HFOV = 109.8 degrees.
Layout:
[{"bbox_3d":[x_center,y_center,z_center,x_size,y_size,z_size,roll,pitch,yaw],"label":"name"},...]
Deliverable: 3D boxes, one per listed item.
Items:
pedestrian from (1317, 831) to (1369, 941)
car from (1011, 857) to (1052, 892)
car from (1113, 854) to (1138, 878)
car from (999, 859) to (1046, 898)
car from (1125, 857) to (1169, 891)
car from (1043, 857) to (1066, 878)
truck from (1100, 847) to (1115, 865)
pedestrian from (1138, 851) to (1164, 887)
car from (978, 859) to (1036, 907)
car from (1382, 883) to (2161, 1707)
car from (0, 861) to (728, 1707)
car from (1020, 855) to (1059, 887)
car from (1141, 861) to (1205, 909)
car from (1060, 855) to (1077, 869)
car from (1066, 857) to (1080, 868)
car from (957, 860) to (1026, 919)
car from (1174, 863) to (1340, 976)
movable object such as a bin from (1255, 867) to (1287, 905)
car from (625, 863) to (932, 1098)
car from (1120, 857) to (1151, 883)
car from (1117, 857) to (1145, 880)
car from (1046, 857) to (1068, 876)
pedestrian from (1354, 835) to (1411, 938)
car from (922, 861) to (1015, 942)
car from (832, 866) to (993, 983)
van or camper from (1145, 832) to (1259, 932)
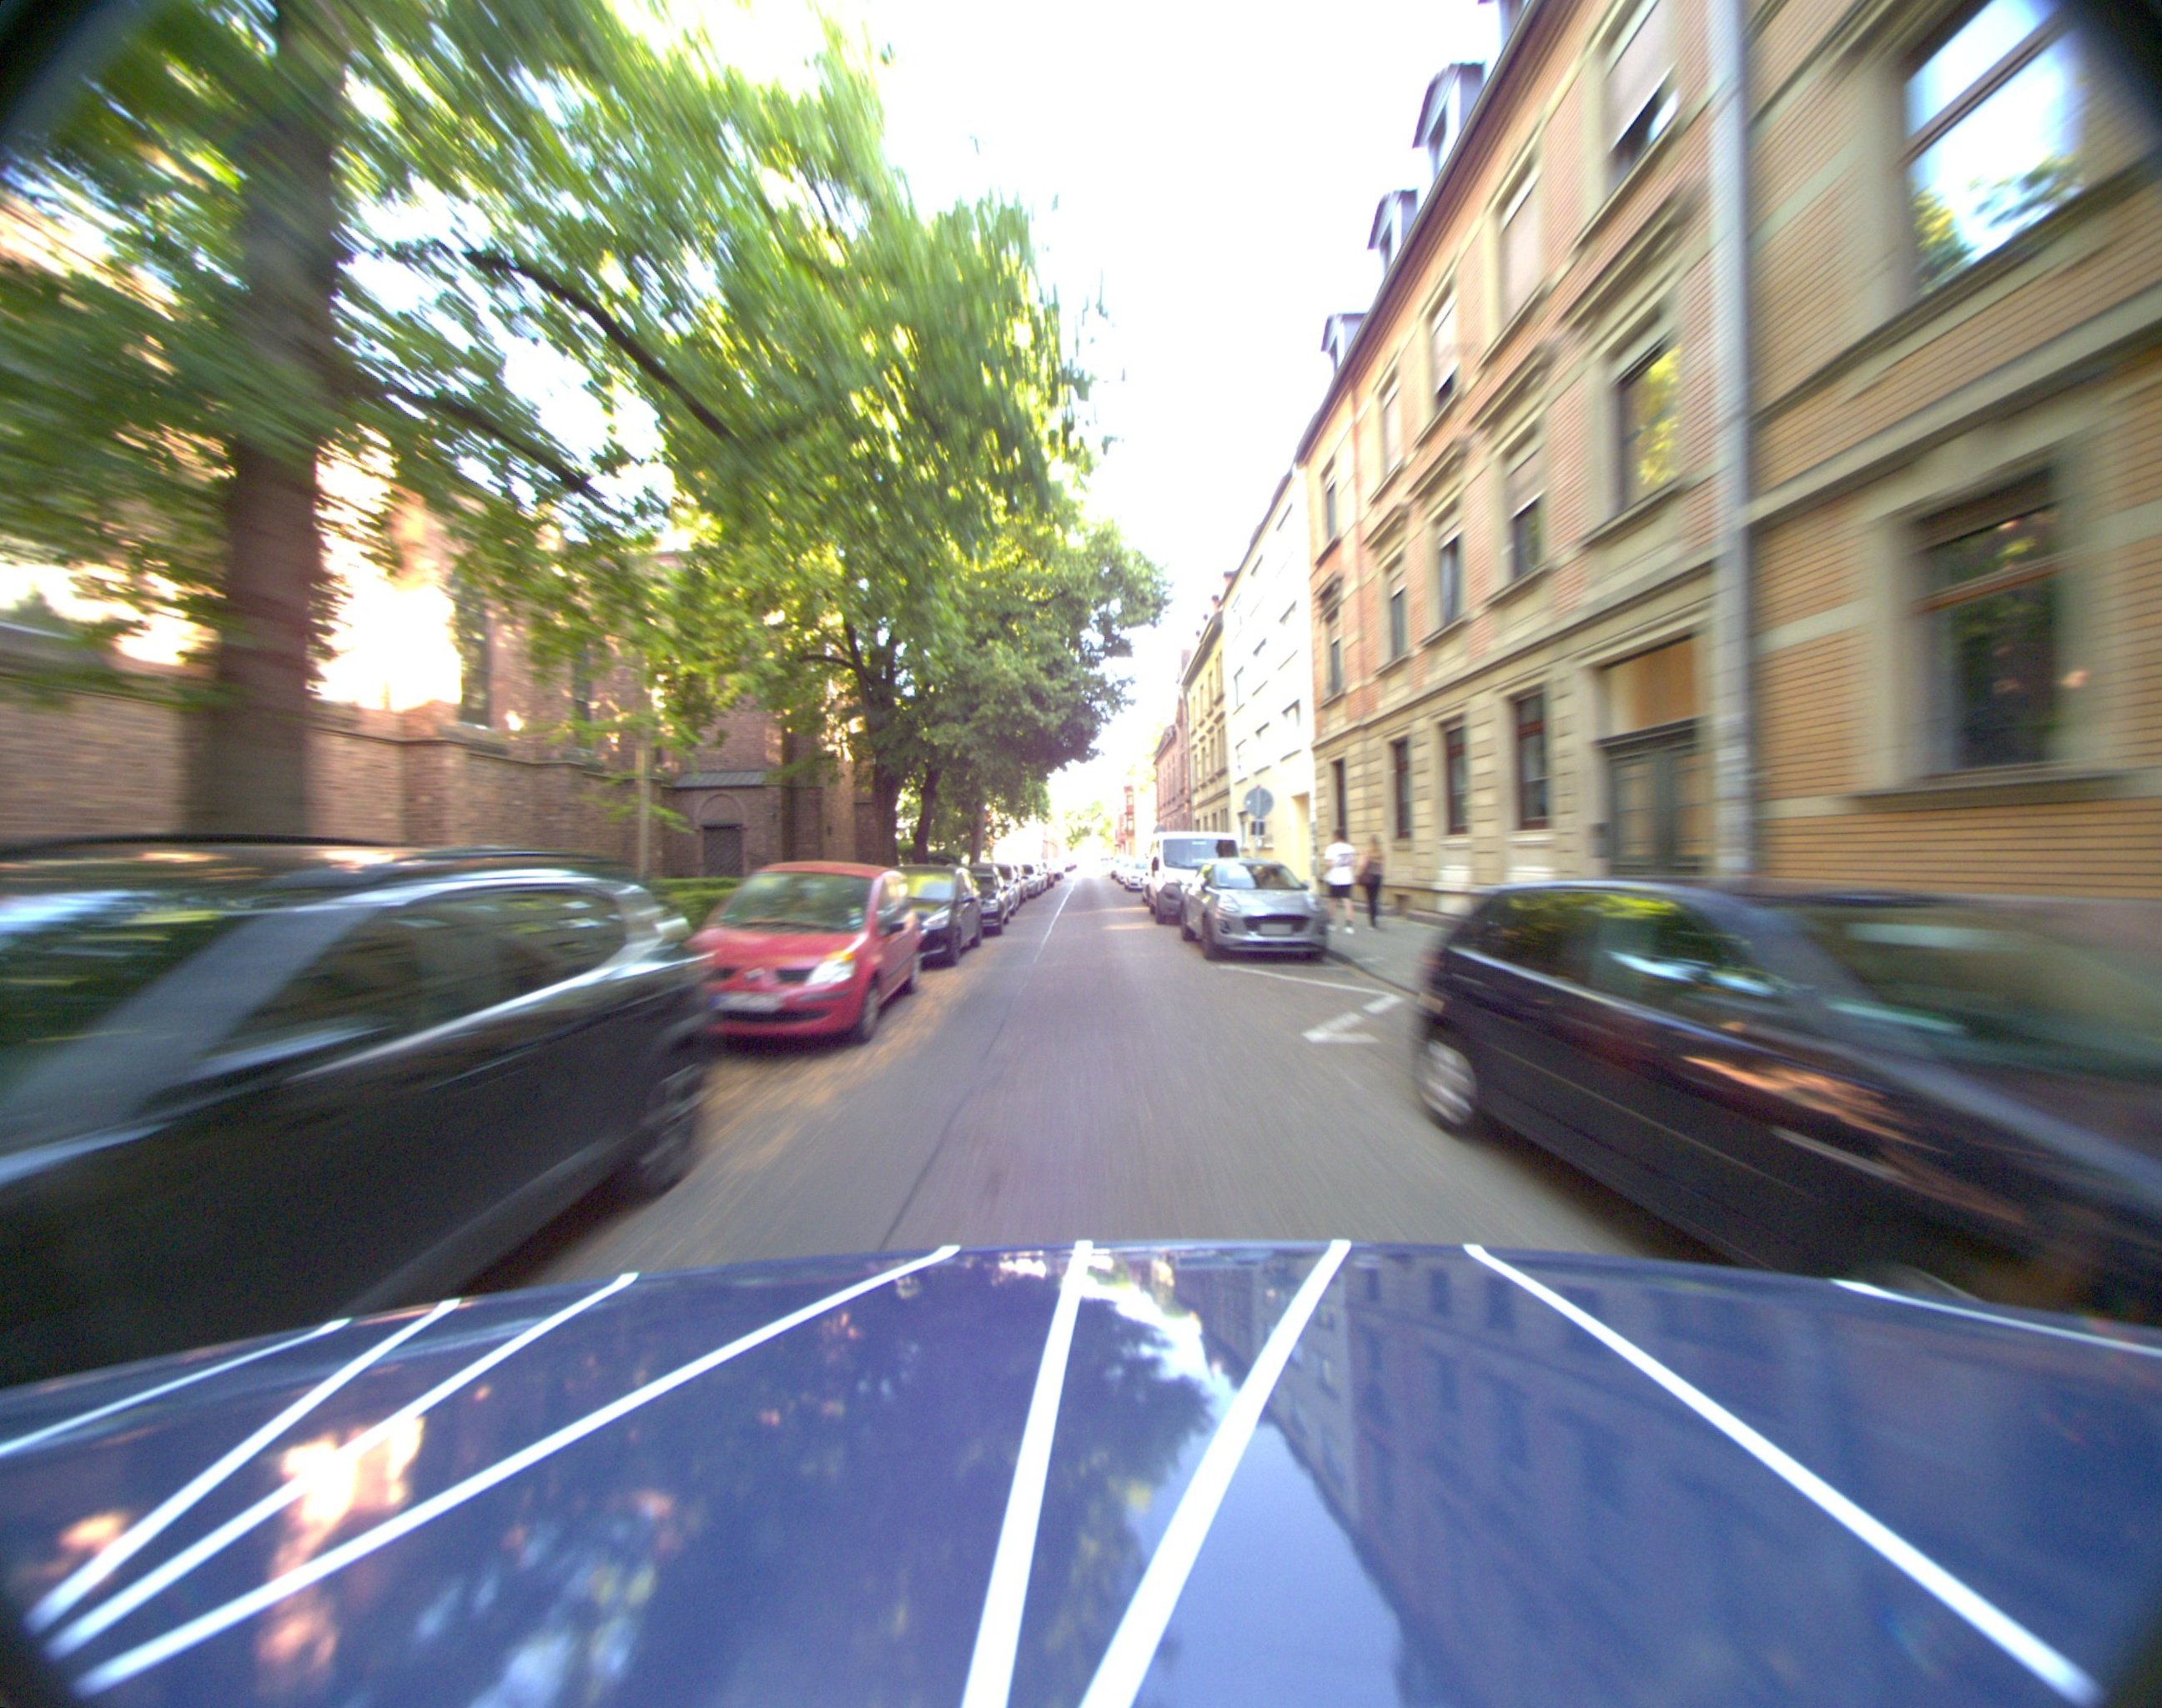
[{"bbox_3d":[4.658,0.542,13.564,0.580,1.872,0.904,-2,2,1],"label":"pedestrian"},{"bbox_3d":[-2.378,0.950,37.055,1.603,1.496,3.720,3,1,1],"label":"car"},{"bbox_3d":[3.283,0.877,56.885,1.713,1.664,4.278,1,1,2],"label":"car"},{"bbox_3d":[-2.445,1.002,32.345,1.603,1.462,3.869,1,1,1],"label":"car"},{"bbox_3d":[3.035,0.901,35.714,1.735,1.447,4.521,0,0,1],"label":"car"},{"bbox_3d":[-1.962,1.004,57.537,1.625,1.428,4.002,0,1,-1],"label":"car"},{"bbox_3d":[3.872,0.295,111.074,1.971,2.643,5.885,0,0,1],"label":"truck"},{"bbox_3d":[3.672,0.784,39.834,1.112,1.792,0.490,-4,1,33],"label":"pedestrian"},{"bbox_3d":[-2.606,0.981,27.417,1.603,1.459,3.563,3,1,1],"label":"car"},{"bbox_3d":[2.849,0.940,2.892,1.697,1.505,3.972,0,0,-2],"label":"car"},{"bbox_3d":[-2.760,0.910,2.015,1.744,1.594,4.262,3,1,-2],"label":"car"},{"bbox_3d":[-2.239,0.890,41.965,1.668,1.577,4.100,3,1,3],"label":"car"},{"bbox_3d":[2.974,0.970,25.271,1.735,1.394,4.316,0,0,2],"label":"car"},{"bbox_3d":[-1.508,0.995,92.402,1.845,1.643,4.000,0,0,1],"label":"car"},{"bbox_3d":[-1.347,1.317,123.716,1.998,1.659,4.001,-2,0,2],"label":"car"},{"bbox_3d":[-2.591,0.991,22.737,1.603,1.496,3.627,3,1,0],"label":"car"},{"bbox_3d":[2.704,0.939,12.629,1.771,1.505,4.193,0,0,0],"label":"car"},{"bbox_3d":[5.709,0.947,22.867,0.802,1.082,0.666,-2,2,5],"label":"movable object such as a bin"},{"bbox_3d":[-2.666,0.991,7.688,1.623,1.615,3.862,3,1,-2],"label":"car"},{"bbox_3d":[3.260,0.937,45.912,1.713,1.409,3.803,1,1,2],"label":"car"},{"bbox_3d":[3.319,0.937,50.655,1.713,1.409,3.803,1,1,2],"label":"car"},{"bbox_3d":[-1.985,1.026,63.022,1.713,1.511,3.831,0,1,-1],"label":"car"},{"bbox_3d":[5.311,0.555,13.421,0.703,1.761,0.649,-2,2,1],"label":"pedestrian"},{"bbox_3d":[-2.470,0.992,17.677,1.680,1.433,4.693,3,1,-3],"label":"car"},{"bbox_3d":[-2.611,1.023,12.648,1.622,1.478,3.776,3,1,3],"label":"car"},{"bbox_3d":[2.817,0.605,18.930,2.182,2.135,5.155,0,0,2],"label":"van or camper"}]
